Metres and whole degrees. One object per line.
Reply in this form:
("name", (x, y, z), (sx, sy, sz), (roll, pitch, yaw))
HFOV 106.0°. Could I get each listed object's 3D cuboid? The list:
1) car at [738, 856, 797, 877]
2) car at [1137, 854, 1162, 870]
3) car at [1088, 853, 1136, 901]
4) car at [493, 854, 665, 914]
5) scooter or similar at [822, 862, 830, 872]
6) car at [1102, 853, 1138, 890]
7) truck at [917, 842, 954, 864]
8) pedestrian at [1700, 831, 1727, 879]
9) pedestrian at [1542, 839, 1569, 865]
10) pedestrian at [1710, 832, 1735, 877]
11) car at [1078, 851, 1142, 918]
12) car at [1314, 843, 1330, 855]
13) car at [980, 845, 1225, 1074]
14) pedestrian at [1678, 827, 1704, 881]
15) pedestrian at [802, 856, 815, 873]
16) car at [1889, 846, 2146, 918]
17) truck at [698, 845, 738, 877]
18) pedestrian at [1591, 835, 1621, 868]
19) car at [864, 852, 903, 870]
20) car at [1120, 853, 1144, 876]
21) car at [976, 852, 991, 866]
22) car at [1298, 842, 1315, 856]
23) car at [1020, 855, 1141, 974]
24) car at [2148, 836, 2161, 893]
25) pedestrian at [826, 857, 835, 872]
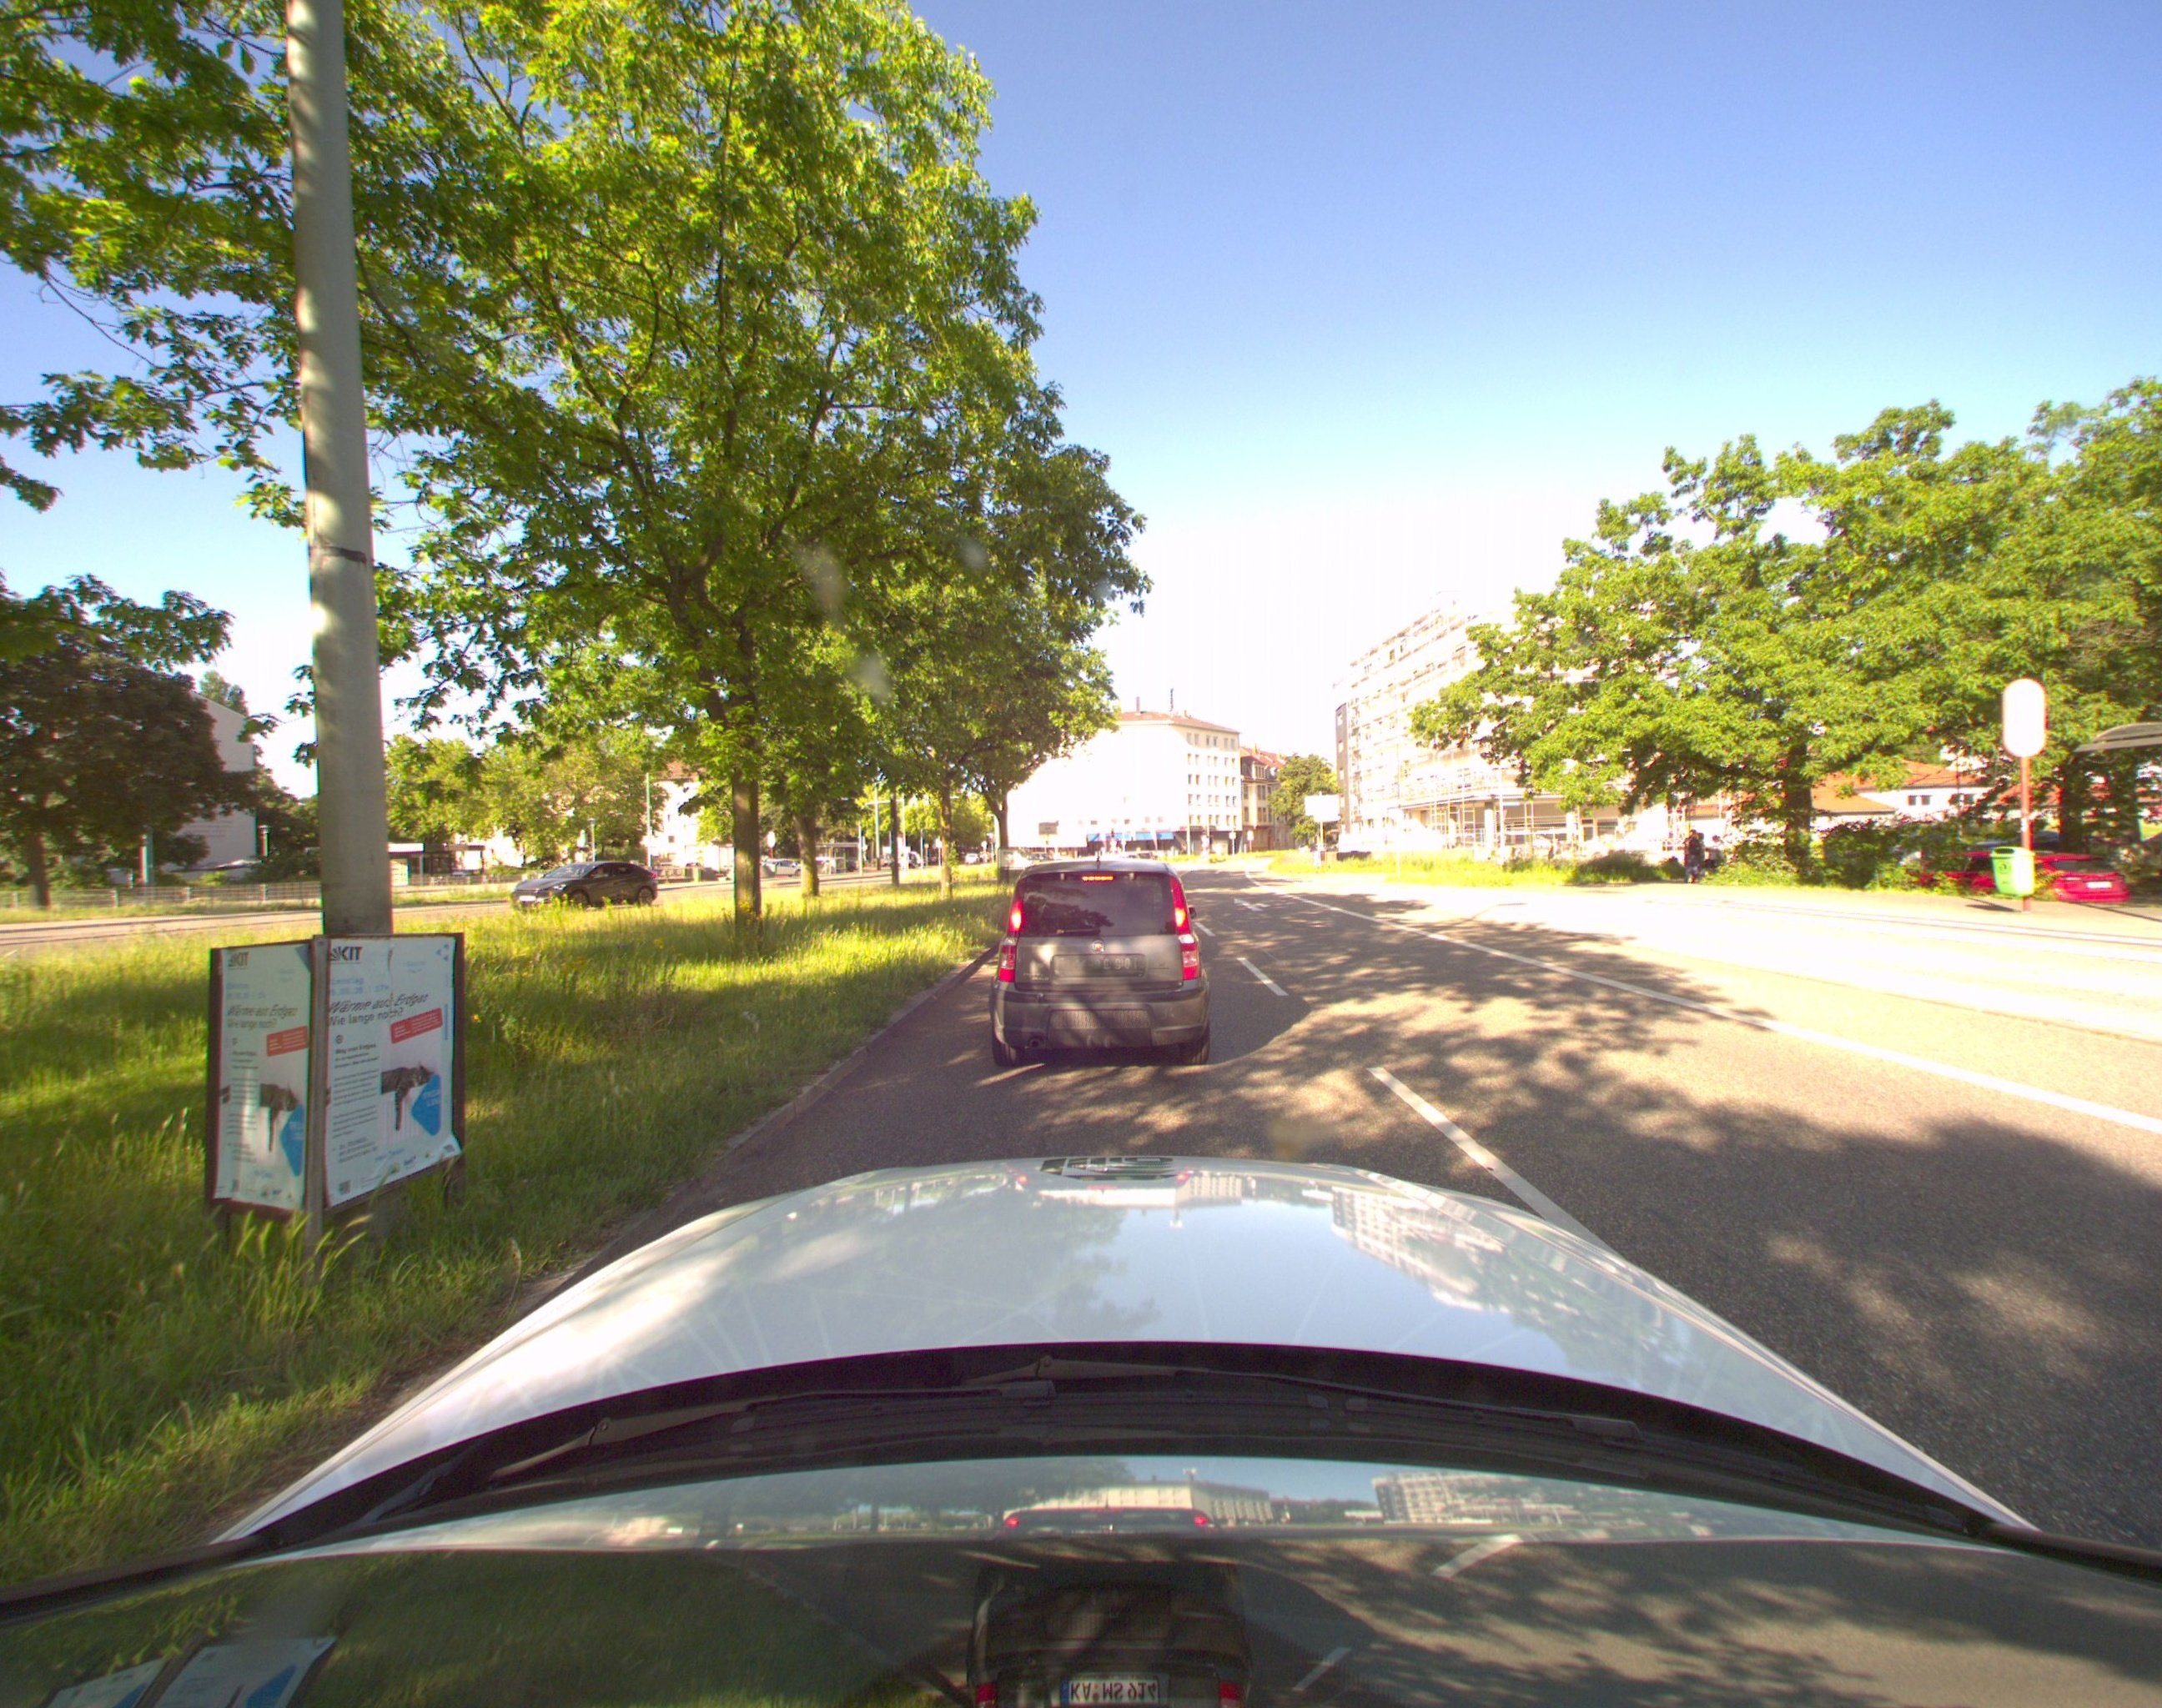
("car", (-27.318, 1.067, 71.064), (1.974, 1.684, 4.348), (-2, 0, 40))
("car", (4.866, 0.573, 57.714), (1.133, 1.064, 2.735), (-2, 0, 19))
("car", (1.032, 0.726, 27.396), (1.458, 1.424, 3.383), (-2, 1, 2))
("car", (-15.535, 0.871, 25.526), (1.813, 1.647, 4.479), (-2, 0, 15))
("scooter or similar", (-23.081, 1.178, 73.667), (0.416, 0.927, 0.537), (-2, 0, 28))
("car", (1.604, 0.691, 33.965), (1.351, 1.449, 3.267), (-2, 0, 2))
("truck", (-23.010, -0.146, 128.568), (5.425, 3.168, 2.358), (-2, 0, 30))
("pedestrian", (19.202, 0.025, 24.737), (0.516, 1.447, 0.595), (-2, 0, 28))
("pedestrian", (26.843, -0.101, 46.104), (0.896, 1.447, 0.958), (-2, 0, -25))
("pedestrian", (20.900, 0.013, 26.547), (0.516, 1.447, 0.595), (-2, 0, 28))
("car", (0.728, 0.698, 20.792), (1.458, 1.508, 3.506), (-2, 1, 2))
("car", (27.625, -0.594, 93.426), (1.514, 1.314, 3.304), (-2, 0, 20))
("car", (0.209, 0.704, 7.534), (1.622, 1.508, 4.002), (-2, 0, 2))
("pedestrian", (18.517, 0.012, 24.716), (0.516, 1.612, 0.595), (-2, 0, 28))
("pedestrian", (-26.309, 0.999, 78.631), (0.910, 1.607, 0.802), (-2, 0, 41))
("car", (21.989, 0.597, 19.374), (1.747, 1.486, 3.743), (-2, 0, -2))
("truck", (-33.075, 0.631, 74.200), (2.012, 2.805, 3.951), (-2, 0, -44))
("pedestrian", (27.430, -0.141, 42.543), (0.893, 1.653, 0.979), (-2, 0, -26))
("car", (-23.946, 0.889, 98.941), (4.164, 2.013, 1.931), (-2, 0, -1))
("car", (3.097, 0.618, 49.676), (1.351, 1.281, 2.877), (-2, 0, 2))
("car", (-14.844, 0.705, 124.157), (1.988, 2.013, 3.997), (-2, 0, -2))
("car", (24.914, -0.542, 89.996), (1.669, 1.449, 3.588), (-2, 0, 18))
("car", (0.052, 0.748, 11.761), (1.458, 1.401, 3.395), (-2, 0, 2))
("car", (29.865, 0.245, 20.178), (1.911, 1.486, 3.725), (-2, 0, -17))
("pedestrian", (-22.808, 0.943, 74.184), (0.411, 1.391, 0.630), (-2, 0, 28))
